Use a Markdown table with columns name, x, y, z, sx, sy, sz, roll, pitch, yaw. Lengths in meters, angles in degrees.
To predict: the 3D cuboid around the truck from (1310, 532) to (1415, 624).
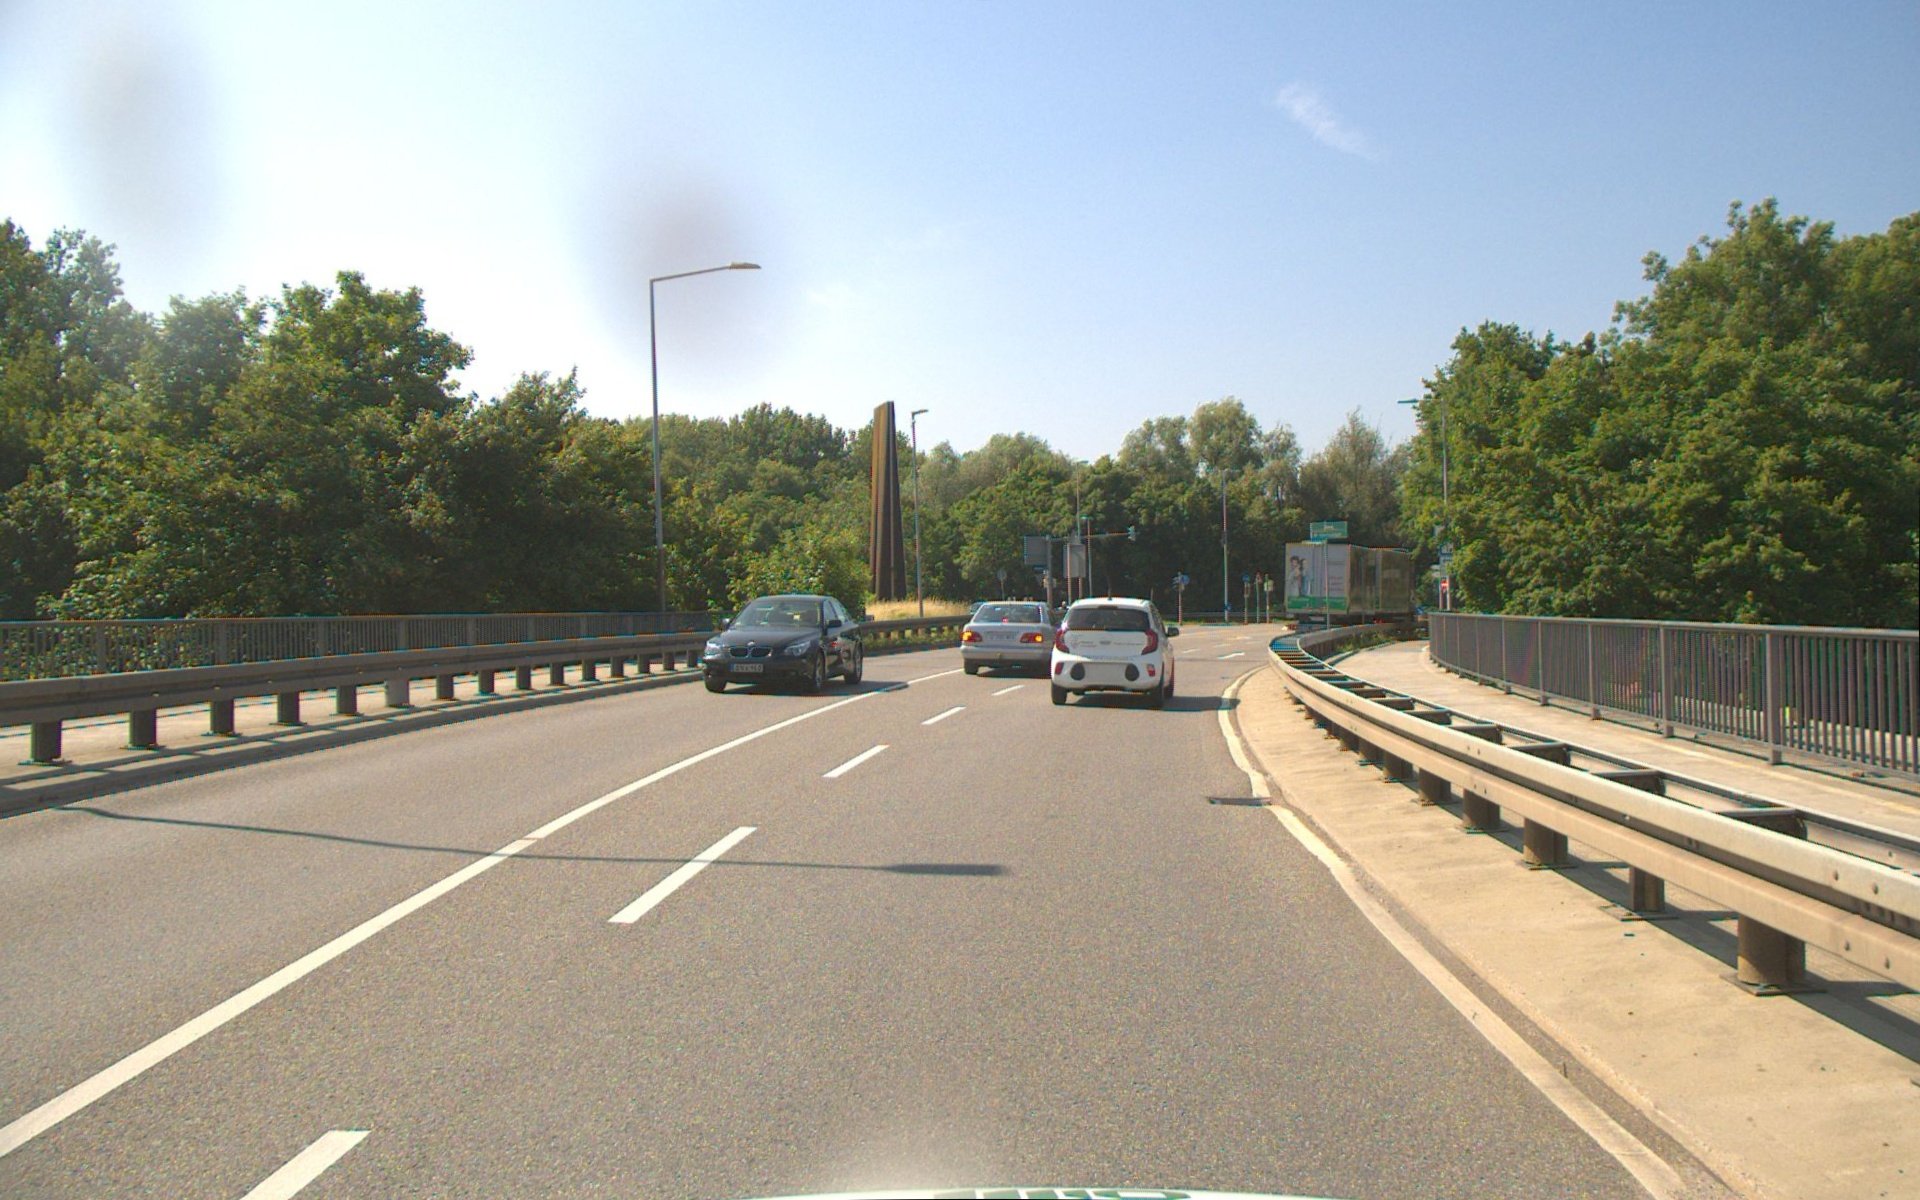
| name | x | y | z | sx | sy | sz | roll | pitch | yaw |
| --- | --- | --- | --- | --- | --- | --- | --- | --- | --- |
| truck | 18.200 | -0.948 | 74.290 | 3.194 | 3.823 | 8.368 | 3 | 1 | 23 |

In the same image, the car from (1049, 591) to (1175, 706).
| name | x | y | z | sx | sy | sz | roll | pitch | yaw |
| --- | --- | --- | --- | --- | --- | --- | --- | --- | --- |
| car | 2.341 | 0.663 | 24.635 | 1.665 | 1.520 | 4.003 | 2 | 0 | 8 |

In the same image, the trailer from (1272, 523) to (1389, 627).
| name | x | y | z | sx | sy | sz | roll | pitch | yaw |
| --- | --- | --- | --- | --- | --- | --- | --- | --- | --- |
| trailer | 15.048 | -0.962 | 66.749 | 3.159 | 3.823 | 7.822 | 3 | 1 | 23 |

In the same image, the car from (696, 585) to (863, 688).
| name | x | y | z | sx | sy | sz | roll | pitch | yaw |
| --- | --- | --- | --- | --- | --- | --- | --- | --- | --- |
| car | -2.813 | 0.520 | 26.764 | 1.816 | 1.467 | 4.518 | 1 | 1 | 5 |

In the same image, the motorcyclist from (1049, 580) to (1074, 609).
| name | x | y | z | sx | sy | sz | roll | pitch | yaw |
| --- | --- | --- | --- | --- | --- | --- | --- | --- | --- |
| motorcyclist | 6.932 | -0.367 | 113.055 | 0.886 | 1.903 | 1.440 | 2 | -1 | -45 |

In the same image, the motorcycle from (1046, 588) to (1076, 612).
| name | x | y | z | sx | sy | sz | roll | pitch | yaw |
| --- | --- | --- | --- | --- | --- | --- | --- | --- | --- |
| motorcycle | 6.923 | 0.000 | 113.033 | 0.892 | 1.556 | 1.950 | 2 | -1 | -44 |

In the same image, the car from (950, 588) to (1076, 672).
| name | x | y | z | sx | sy | sz | roll | pitch | yaw |
| --- | --- | --- | --- | --- | --- | --- | --- | --- | --- |
| car | 1.145 | 0.540 | 33.030 | 1.897 | 1.512 | 4.904 | 1 | 0 | 9 |

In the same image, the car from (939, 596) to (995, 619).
| name | x | y | z | sx | sy | sz | roll | pitch | yaw |
| --- | --- | --- | --- | --- | --- | --- | --- | --- | --- |
| car | 0.471 | 0.545 | 117.322 | 1.752 | 1.413 | 3.938 | 3 | -5 | -42 |
